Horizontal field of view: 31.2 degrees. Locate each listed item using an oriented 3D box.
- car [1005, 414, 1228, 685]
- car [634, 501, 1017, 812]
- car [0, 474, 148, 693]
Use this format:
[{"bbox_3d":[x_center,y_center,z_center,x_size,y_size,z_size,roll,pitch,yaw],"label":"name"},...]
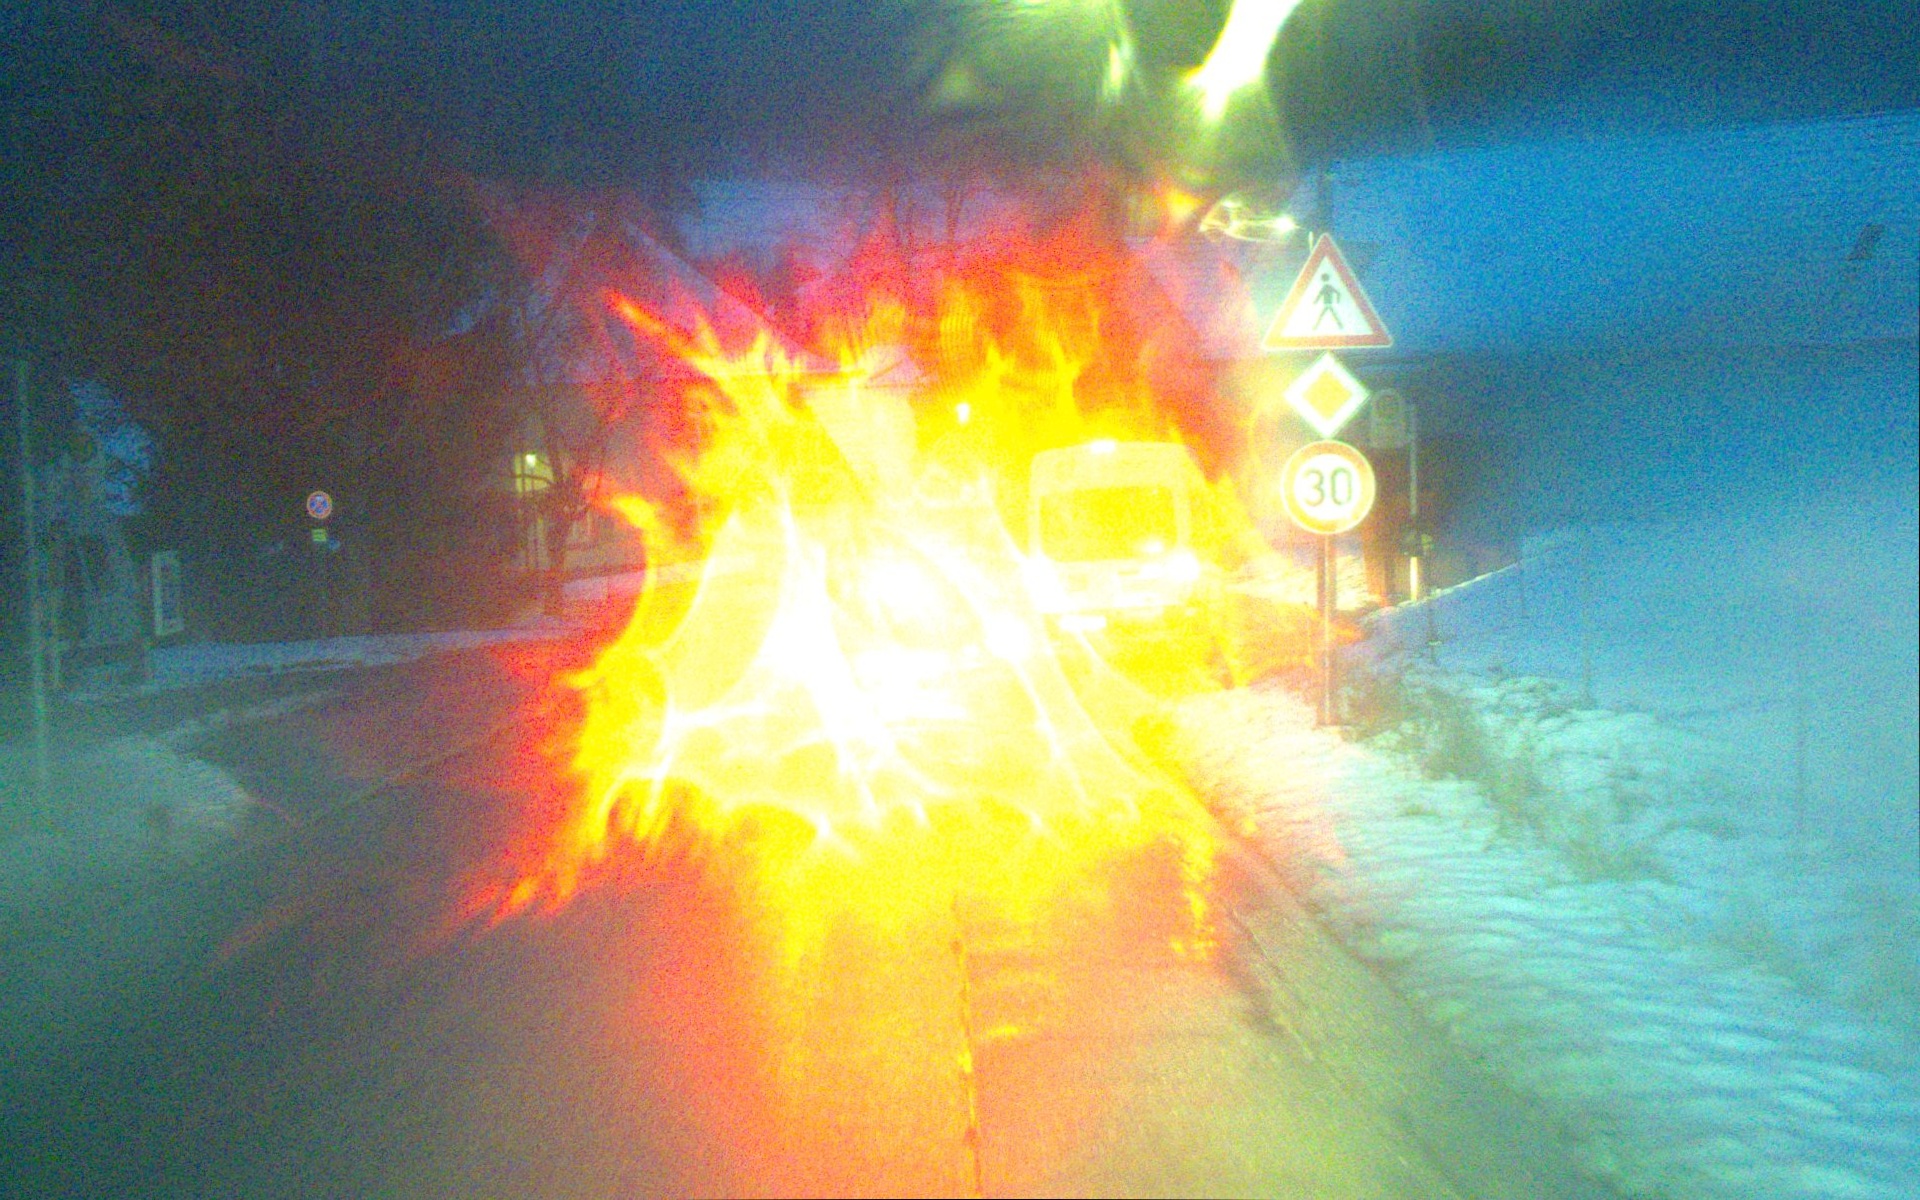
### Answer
[{"bbox_3d":[1.886,-0.568,41.984,2.435,3.008,5.324,-2,0,2],"label":"car"},{"bbox_3d":[-0.882,0.319,23.073,2.274,1.834,5.007,-1,0,-2],"label":"car"},{"bbox_3d":[-12.189,-0.208,43.517,2.469,2.562,6.229,-1,0,-1],"label":"car"}]
